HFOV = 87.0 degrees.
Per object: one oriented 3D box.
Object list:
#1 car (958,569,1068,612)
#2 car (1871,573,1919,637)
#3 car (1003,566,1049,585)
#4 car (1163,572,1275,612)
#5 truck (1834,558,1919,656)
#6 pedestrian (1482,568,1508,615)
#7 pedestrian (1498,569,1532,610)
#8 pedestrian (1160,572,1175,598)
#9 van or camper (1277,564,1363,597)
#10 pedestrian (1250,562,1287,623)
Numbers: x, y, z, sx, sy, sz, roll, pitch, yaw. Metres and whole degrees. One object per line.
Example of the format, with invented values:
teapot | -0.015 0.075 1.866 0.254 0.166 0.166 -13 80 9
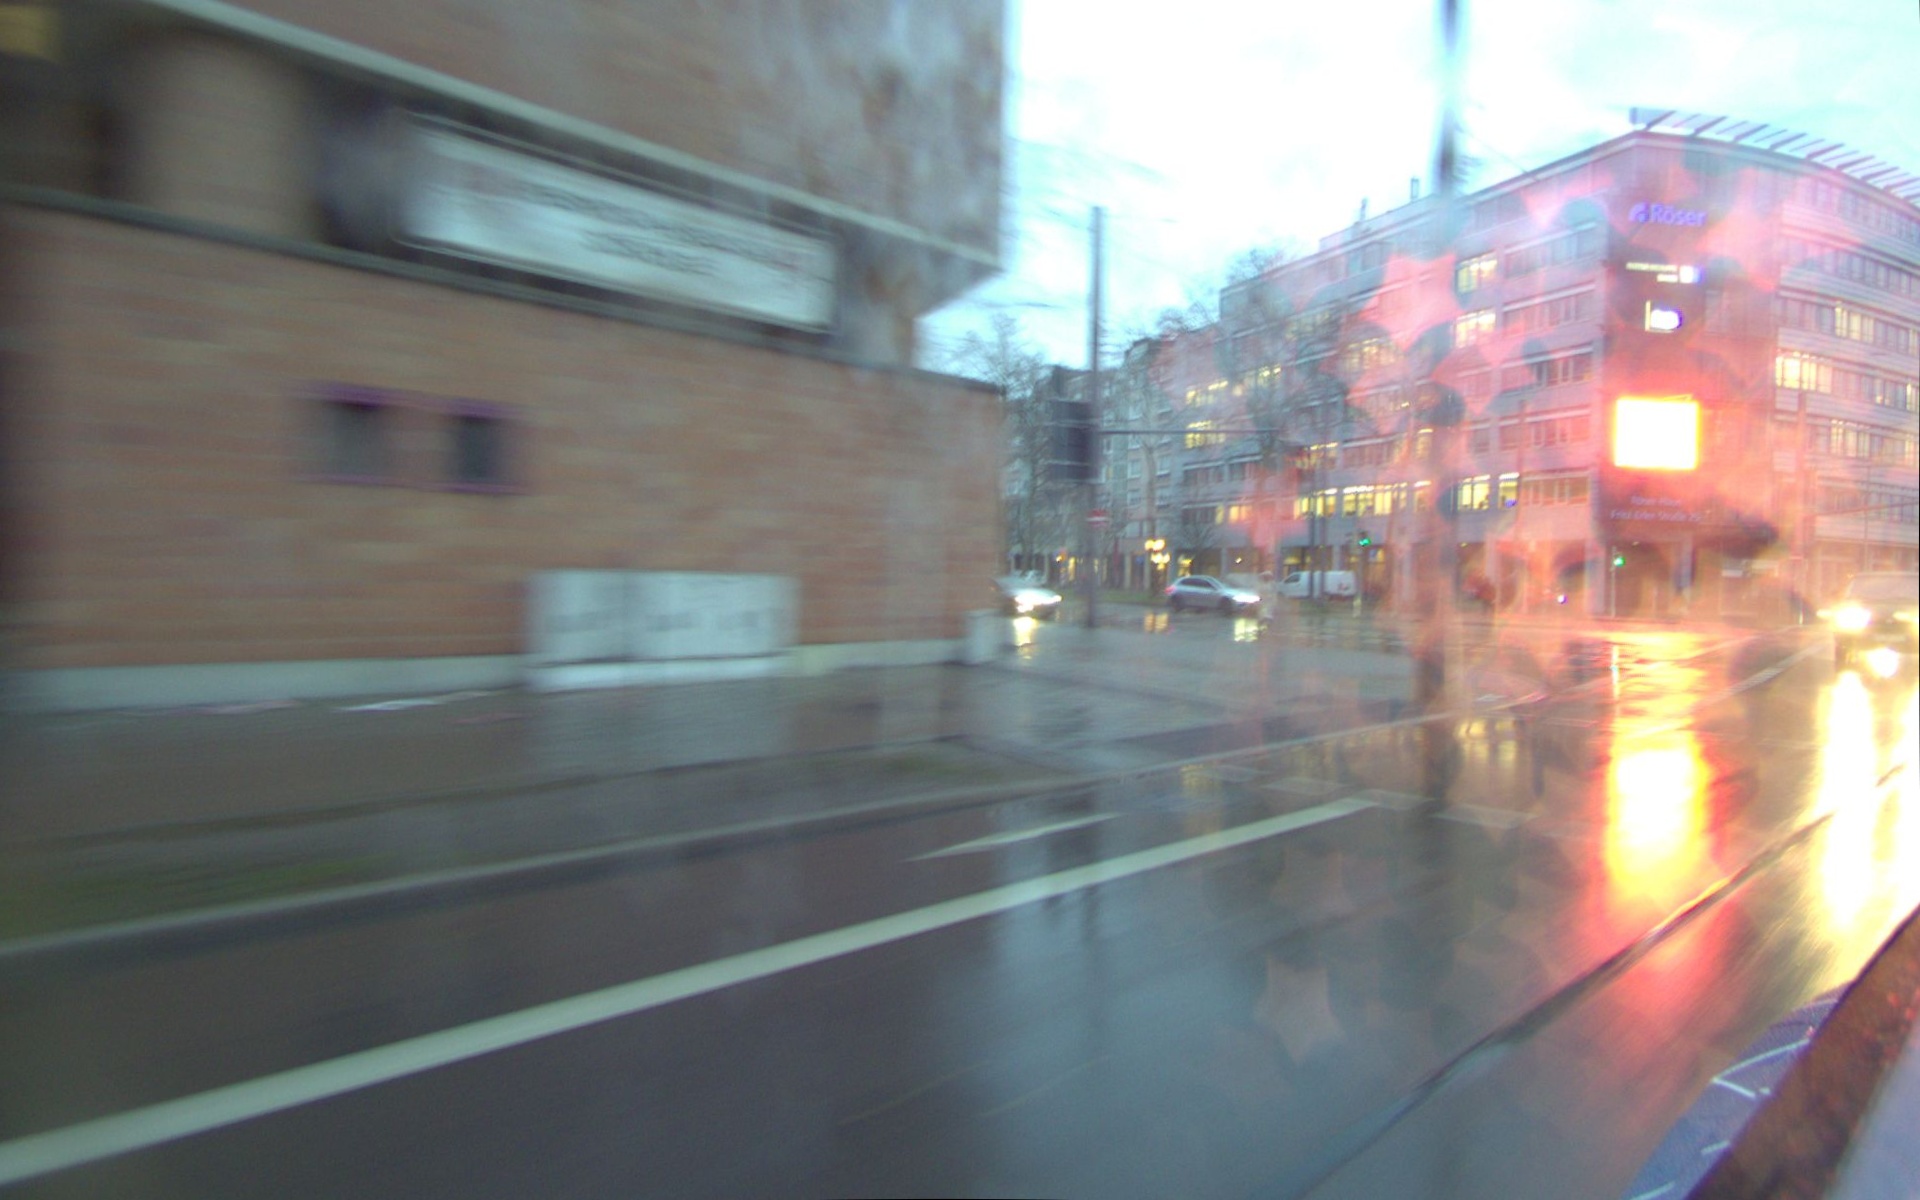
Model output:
car | 1.824 -0.359 35.823 1.780 1.326 3.995 0 3 -36
car | 29.474 0.161 30.254 4.594 1.842 1.913 0 0 -29
car | 5.475 -2.033 84.763 1.807 1.450 4.003 0 3 -33
car | 10.005 -0.342 39.293 1.780 1.357 3.995 0 2 -35
truck | 20.584 0.148 21.803 4.534 1.941 1.909 0 0 -39
pedestrian | 21.522 -0.349 40.724 0.790 1.833 0.647 2 1 18
pedestrian | 25.158 -0.479 45.879 1.148 1.809 0.766 2 2 42
pedestrian | 11.109 -0.800 54.220 0.469 1.381 0.608 1 1 -30
van or camper | 22.023 -1.194 62.108 1.807 1.953 4.746 0 1 -37
pedestrian | 9.255 -0.236 30.367 0.722 1.809 0.735 0 2 -42
